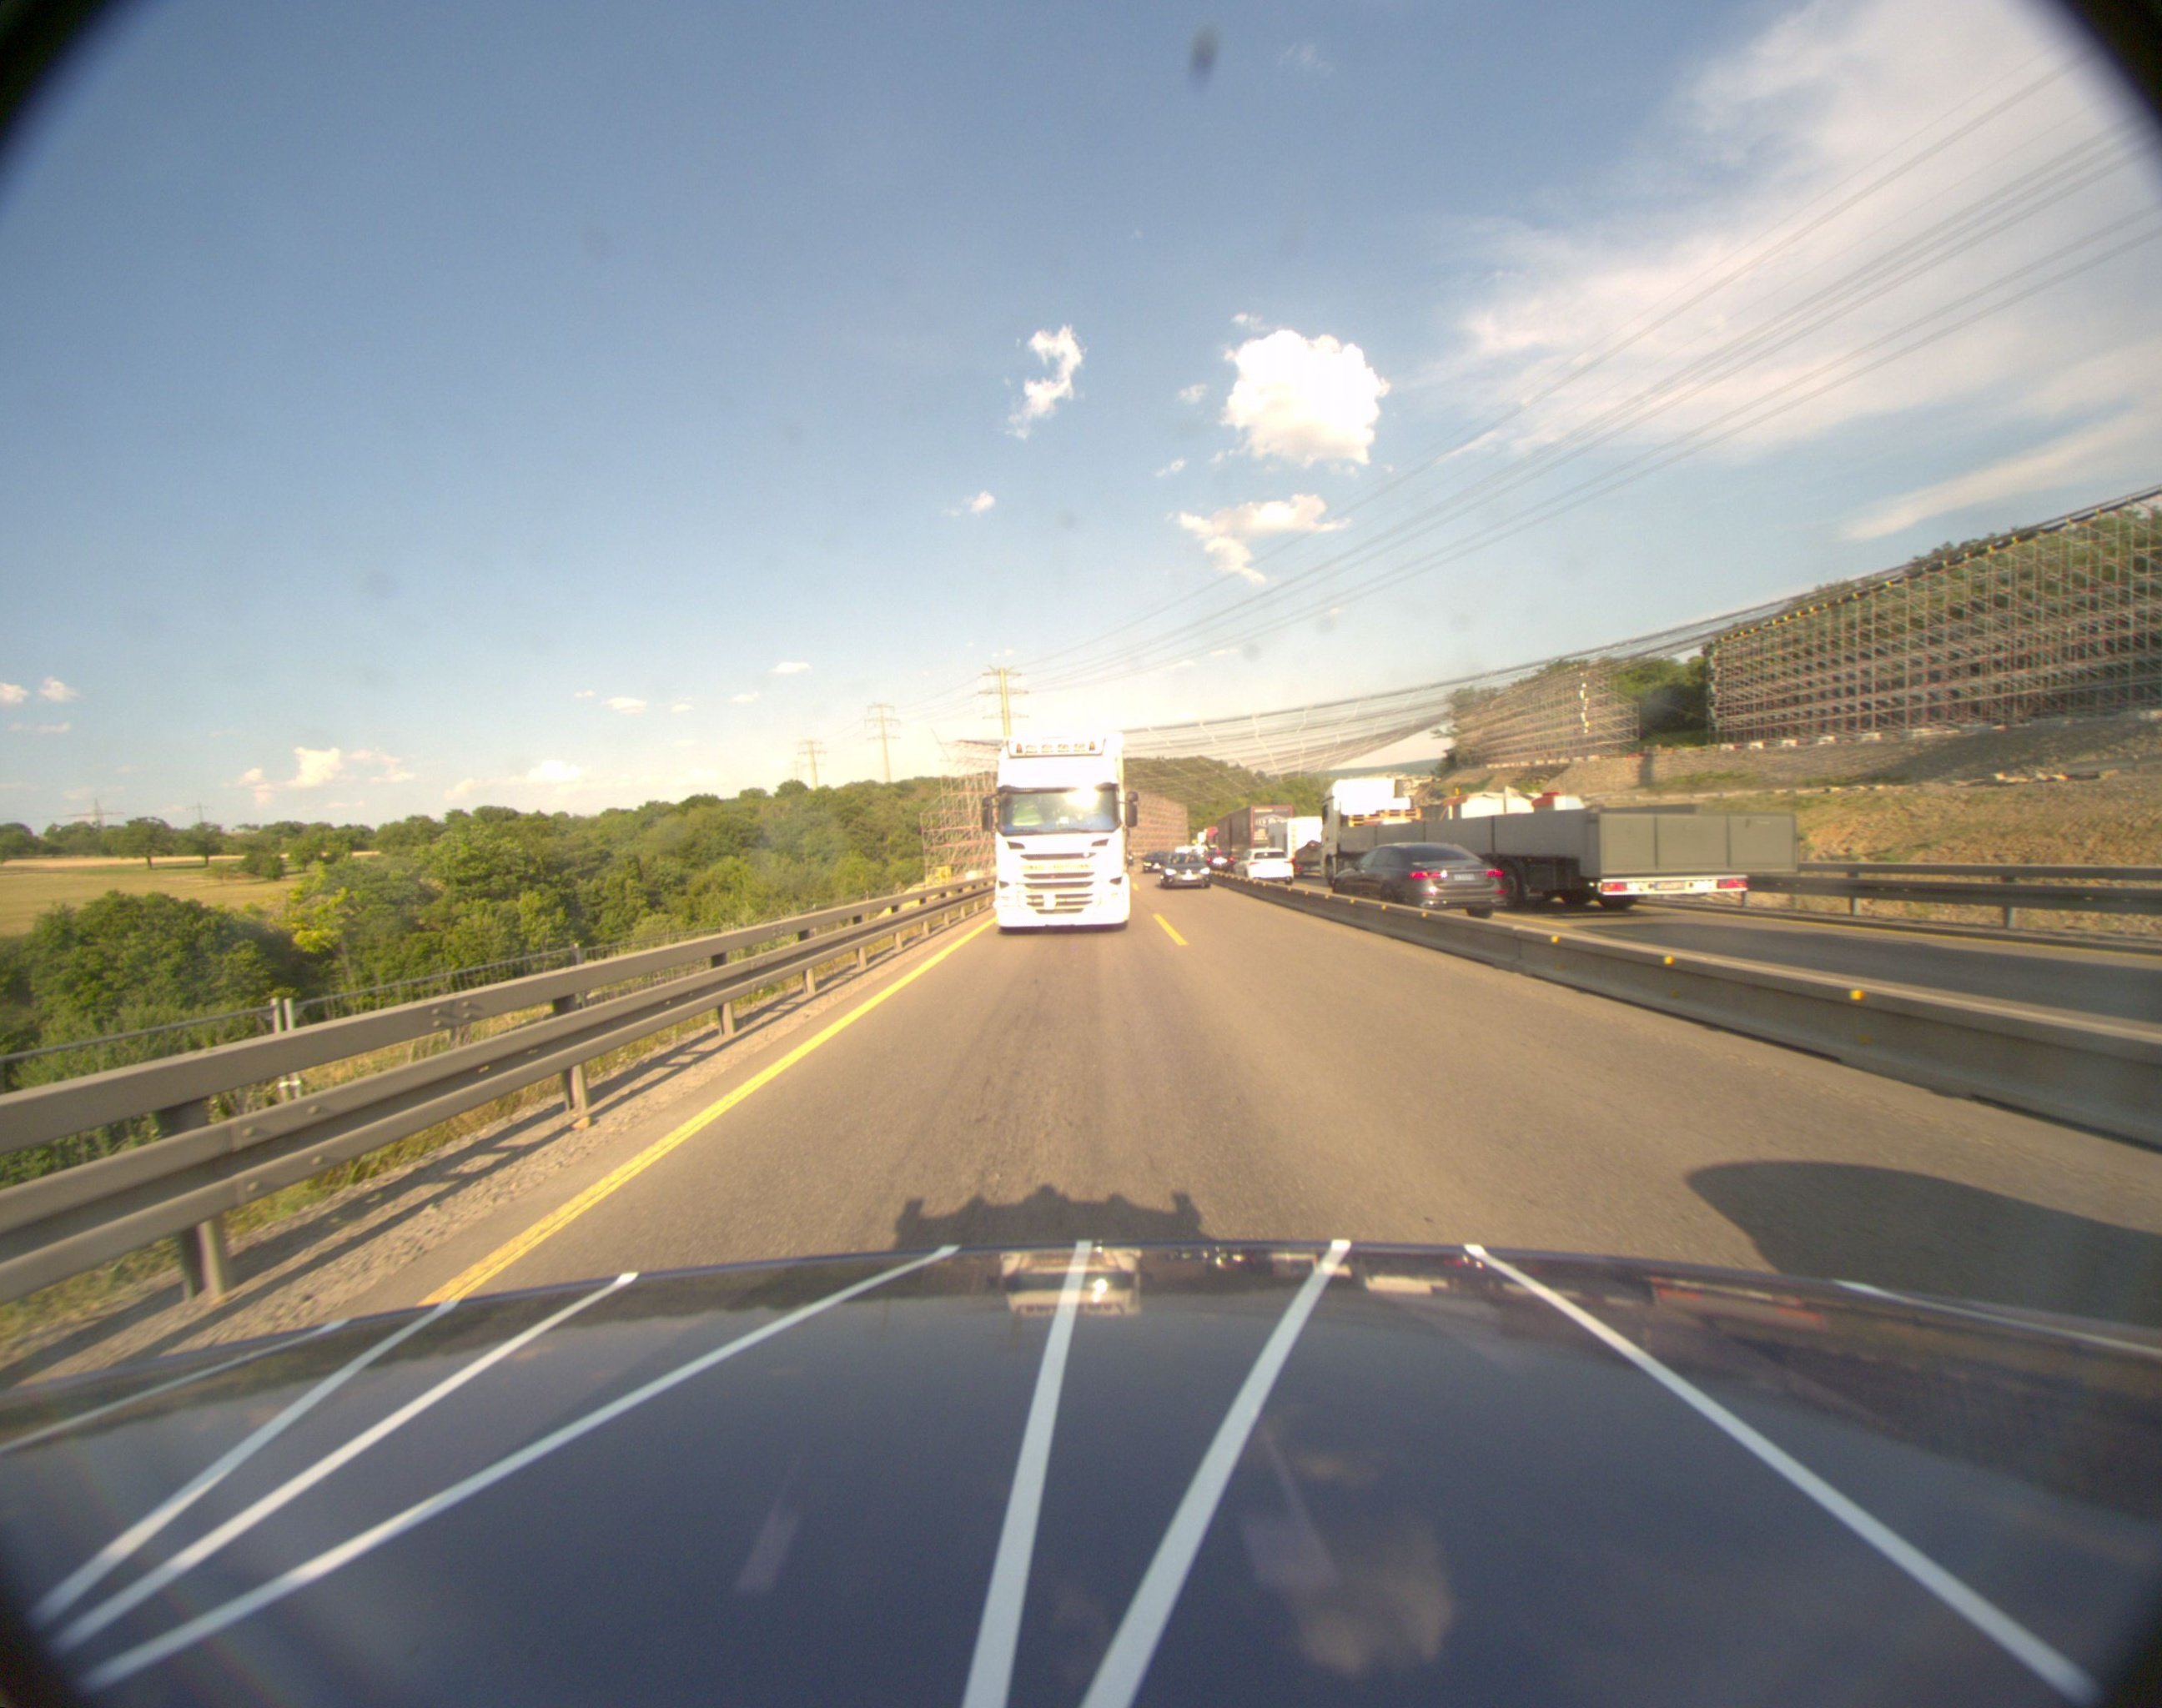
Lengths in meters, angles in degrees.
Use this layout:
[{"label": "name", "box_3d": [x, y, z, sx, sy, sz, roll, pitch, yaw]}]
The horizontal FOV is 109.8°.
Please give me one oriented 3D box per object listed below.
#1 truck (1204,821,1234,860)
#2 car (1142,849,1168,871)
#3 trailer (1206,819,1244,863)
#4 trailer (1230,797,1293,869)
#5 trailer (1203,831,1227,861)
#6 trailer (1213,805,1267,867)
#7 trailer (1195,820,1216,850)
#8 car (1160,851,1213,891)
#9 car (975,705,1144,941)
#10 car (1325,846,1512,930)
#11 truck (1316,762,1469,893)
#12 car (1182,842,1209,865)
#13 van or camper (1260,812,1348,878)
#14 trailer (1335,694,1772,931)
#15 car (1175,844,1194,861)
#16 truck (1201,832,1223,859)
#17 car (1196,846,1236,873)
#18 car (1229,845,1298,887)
[{"label": "truck", "box_3d": [14.120, -1.388, 78.098, 2.437, 3.763, 5.619, -2, 1, 5]}, {"label": "car", "box_3d": [5.138, 0.383, 52.678, 1.675, 1.376, 3.823, -2, 1, 5]}, {"label": "trailer", "box_3d": [13.572, -1.209, 72.271, 2.312, 3.768, 12.055, -2, 1, 5]}, {"label": "trailer", "box_3d": [11.381, -1.272, 48.634, 2.448, 4.165, 8.545, -2, 1, 4]}, {"label": "trailer", "box_3d": [15.877, -0.992, 90.688, 2.311, 3.342, 12.057, -2, 1, 8]}, {"label": "trailer", "box_3d": [11.966, -1.325, 58.128, 2.481, 4.304, 10.512, -2, 1, 4]}, {"label": "trailer", "box_3d": [17.803, -2.635, 109.161, 2.432, 3.940, 14.105, -1, 1, 8]}, {"label": "car", "box_3d": [4.040, 0.612, 29.635, 1.764, 1.376, 3.823, -2, 1, 4]}, {"label": "car", "box_3d": [-0.411, -0.591, 17.538, 2.859, 4.092, 8.279, -2, 1, 0]}, {"label": "car", "box_3d": [6.546, 0.561, 15.392, 1.763, 1.370, 4.767, -2, 1, 1]}, {"label": "truck", "box_3d": [10.053, -0.796, 25.300, 2.607, 3.732, 6.517, -2, 1, 3]}, {"label": "car", "box_3d": [9.205, -0.063, 61.403, 1.761, 1.685, 4.454, -2, 1, 4]}, {"label": "van or camper", "box_3d": [10.818, -0.436, 37.652, 2.413, 2.875, 7.618, -2, 1, 3]}, {"label": "trailer", "box_3d": [9.866, -0.737, 19.091, 2.526, 3.703, 13.977, -2, 1, 1]}, {"label": "car", "box_3d": [11.763, -0.200, 86.745, 1.821, 1.914, 4.837, -2, 1, 4]}, {"label": "truck", "box_3d": [16.573, -1.094, 96.160, 2.418, 3.351, 5.620, -2, 1, 8]}, {"label": "car", "box_3d": [8.232, 0.279, 46.674, 1.798, 1.502, 4.586, -2, 1, 2]}, {"label": "car", "box_3d": [7.173, 0.412, 30.342, 1.763, 1.499, 4.254, -2, 1, 1]}]
